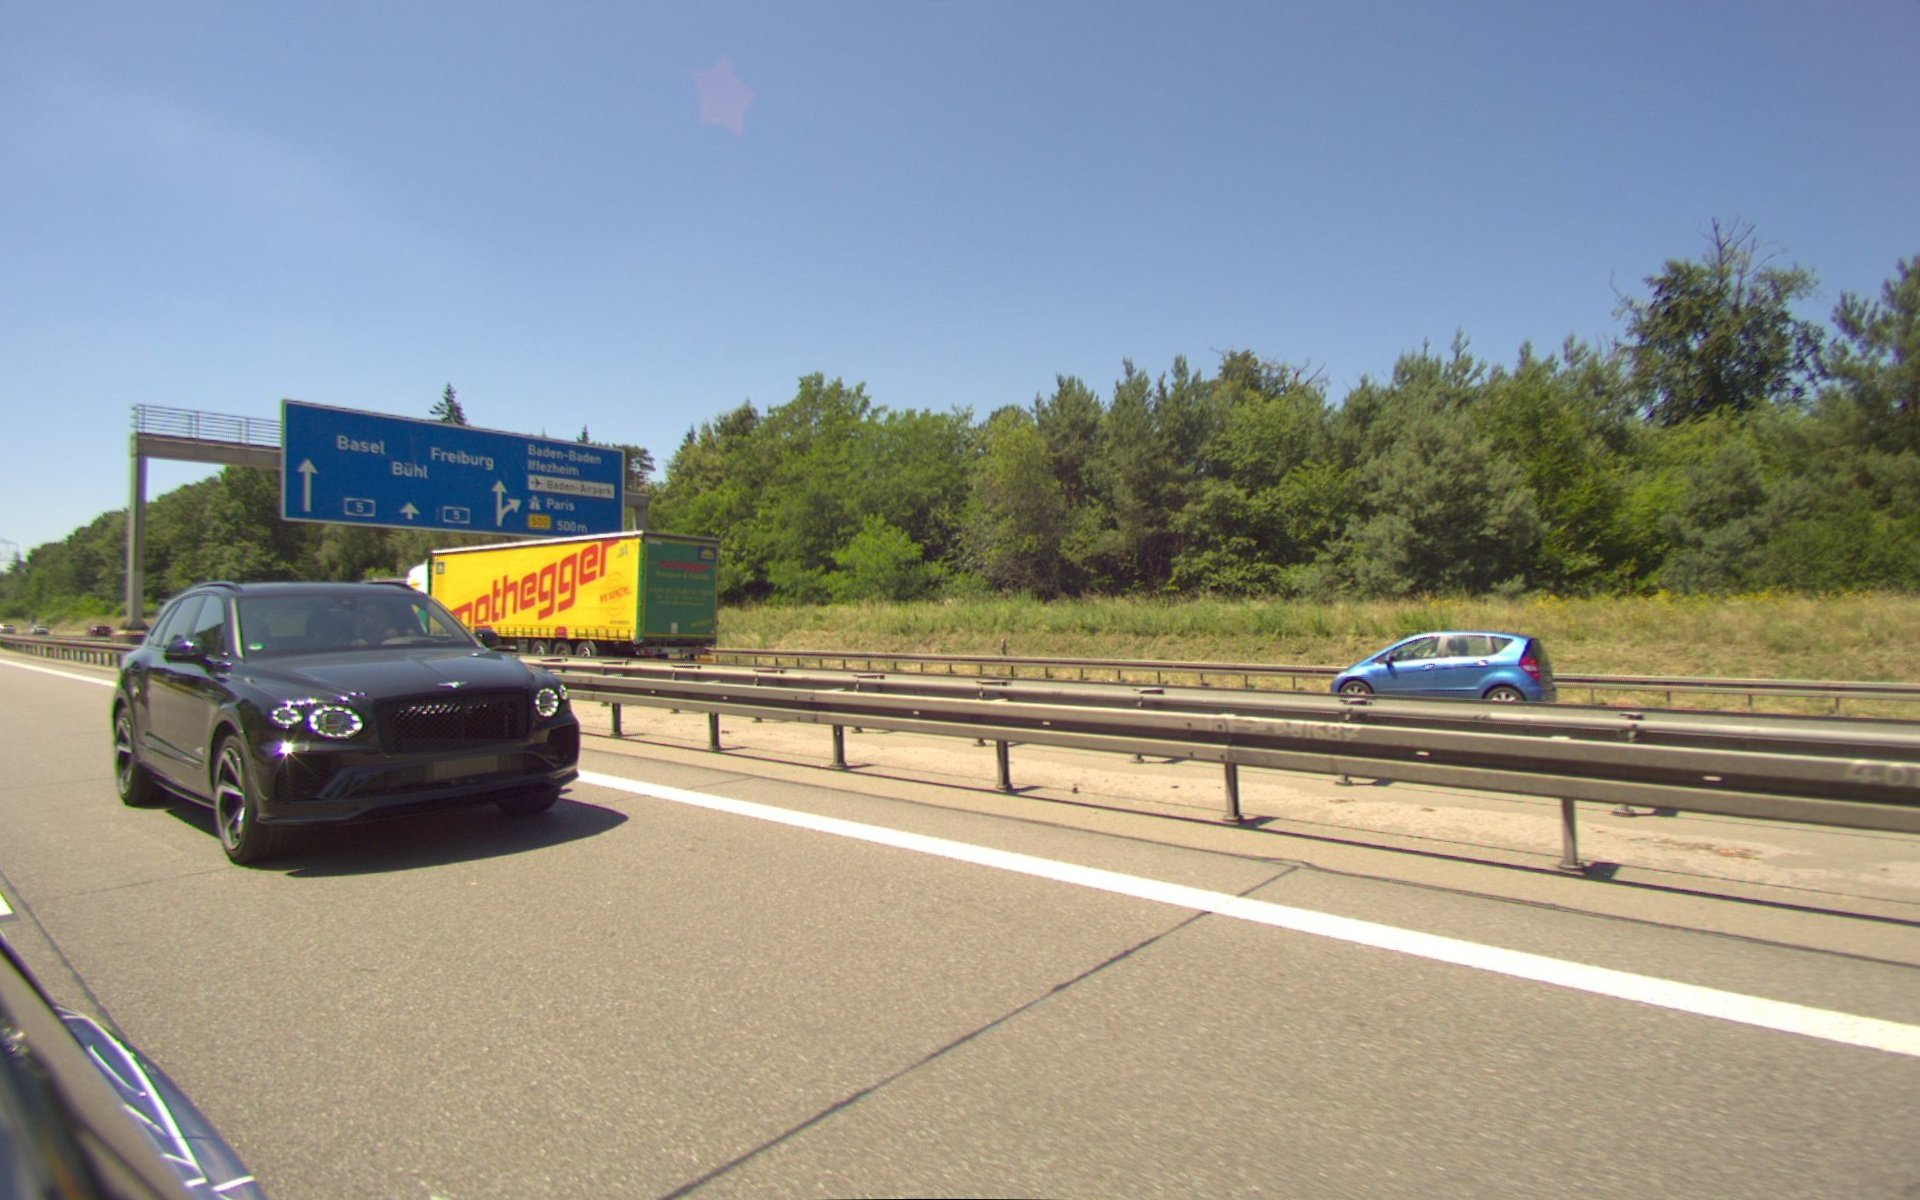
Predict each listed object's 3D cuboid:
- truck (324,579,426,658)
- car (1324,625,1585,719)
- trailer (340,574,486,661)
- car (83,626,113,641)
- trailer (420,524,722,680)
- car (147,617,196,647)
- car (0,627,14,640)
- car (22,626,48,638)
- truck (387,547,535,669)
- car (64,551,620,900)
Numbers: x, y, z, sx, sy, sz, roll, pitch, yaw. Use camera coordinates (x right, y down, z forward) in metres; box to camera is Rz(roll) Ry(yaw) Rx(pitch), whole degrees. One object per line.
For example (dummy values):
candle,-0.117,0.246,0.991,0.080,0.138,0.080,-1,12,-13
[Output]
truck,-31.465,1.058,54.344,6.479,3.979,2.598,-1,-4,41
car,9.083,1.282,18.803,4.108,1.552,1.508,-1,-4,41
trailer,-27.791,0.982,51.105,11.151,3.979,2.598,-1,-4,41
car,-91.613,3.558,107.553,4.609,1.603,1.629,-2,-4,41
trailer,-12.937,0.257,32.226,14.271,4.104,2.438,-1,-4,41
car,-65.789,2.678,84.421,5.805,2.358,1.967,-1,-4,40
car,-119.078,4.150,125.751,4.557,1.510,1.629,-1,-4,40
car,-120.888,4.224,132.263,4.900,1.528,1.776,-1,-4,40
truck,-18.266,0.383,36.896,6.283,4.104,2.438,-1,-4,41
car,-5.059,0.701,7.759,5.809,1.765,1.921,-2,-1,40
